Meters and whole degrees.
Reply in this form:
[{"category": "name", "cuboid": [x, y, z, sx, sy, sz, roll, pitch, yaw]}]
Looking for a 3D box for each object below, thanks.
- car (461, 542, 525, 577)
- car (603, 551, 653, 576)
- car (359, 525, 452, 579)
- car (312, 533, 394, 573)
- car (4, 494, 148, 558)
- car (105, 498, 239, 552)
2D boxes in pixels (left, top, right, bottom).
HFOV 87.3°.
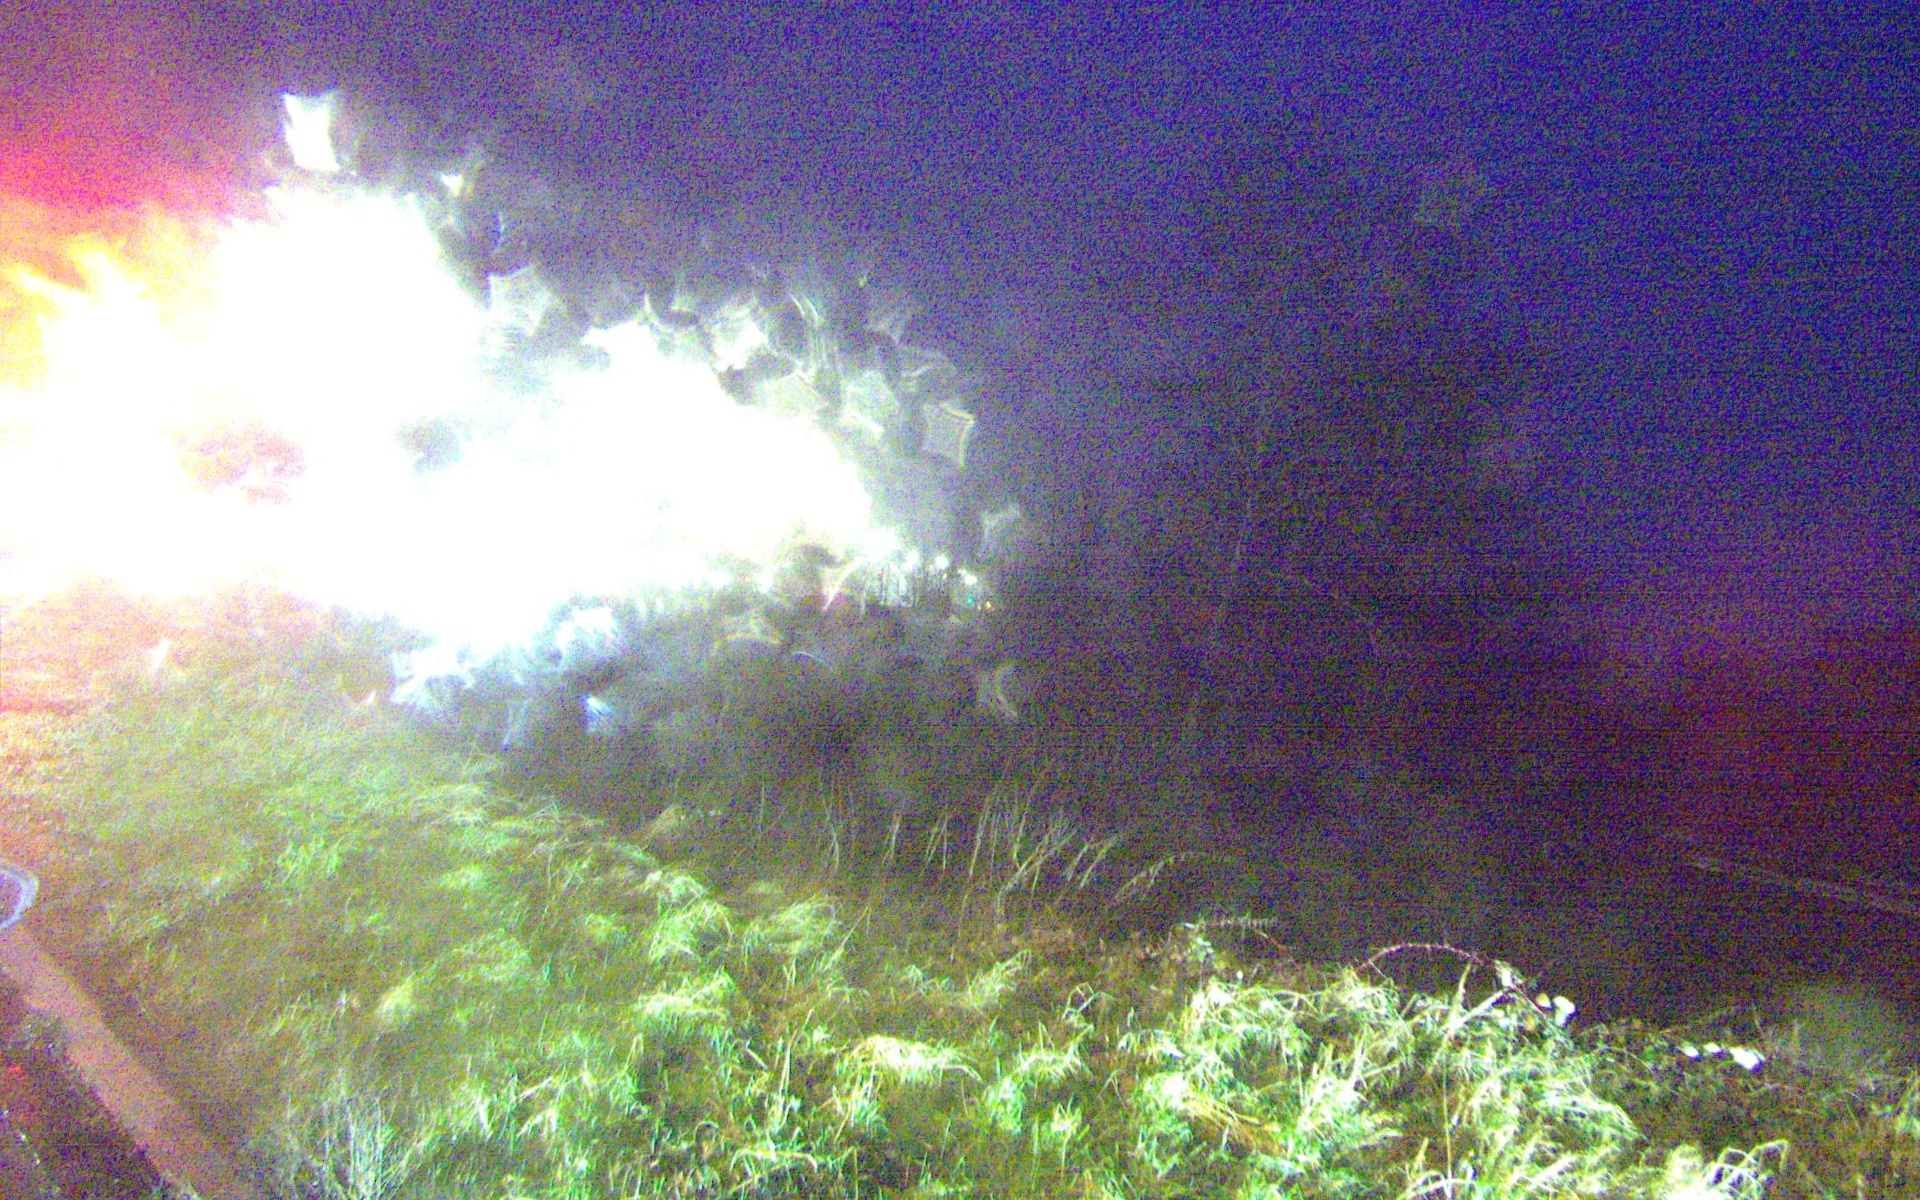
[{"category": "car", "cuboid": [-29.302, -2.506, 63.276, 1.770, 1.685, 3.980, 7, -2, 5]}, {"category": "car", "cuboid": [-25.708, -2.805, 78.081, 1.748, 1.502, 4.414, 7, 0, 8]}, {"category": "car", "cuboid": [-36.144, -3.063, 65.784, 2.213, 2.741, 5.615, 7, -2, 6]}, {"category": "car", "cuboid": [-34.449, -2.631, 57.185, 1.732, 1.734, 4.129, 7, -2, 5]}, {"category": "car", "cuboid": [-35.221, -2.901, 40.247, 1.732, 1.870, 4.129, 7, -2, 5]}, {"category": "car", "cuboid": [-31.539, -2.954, 40.444, 1.685, 1.504, 4.062, 7, -2, 9]}]
